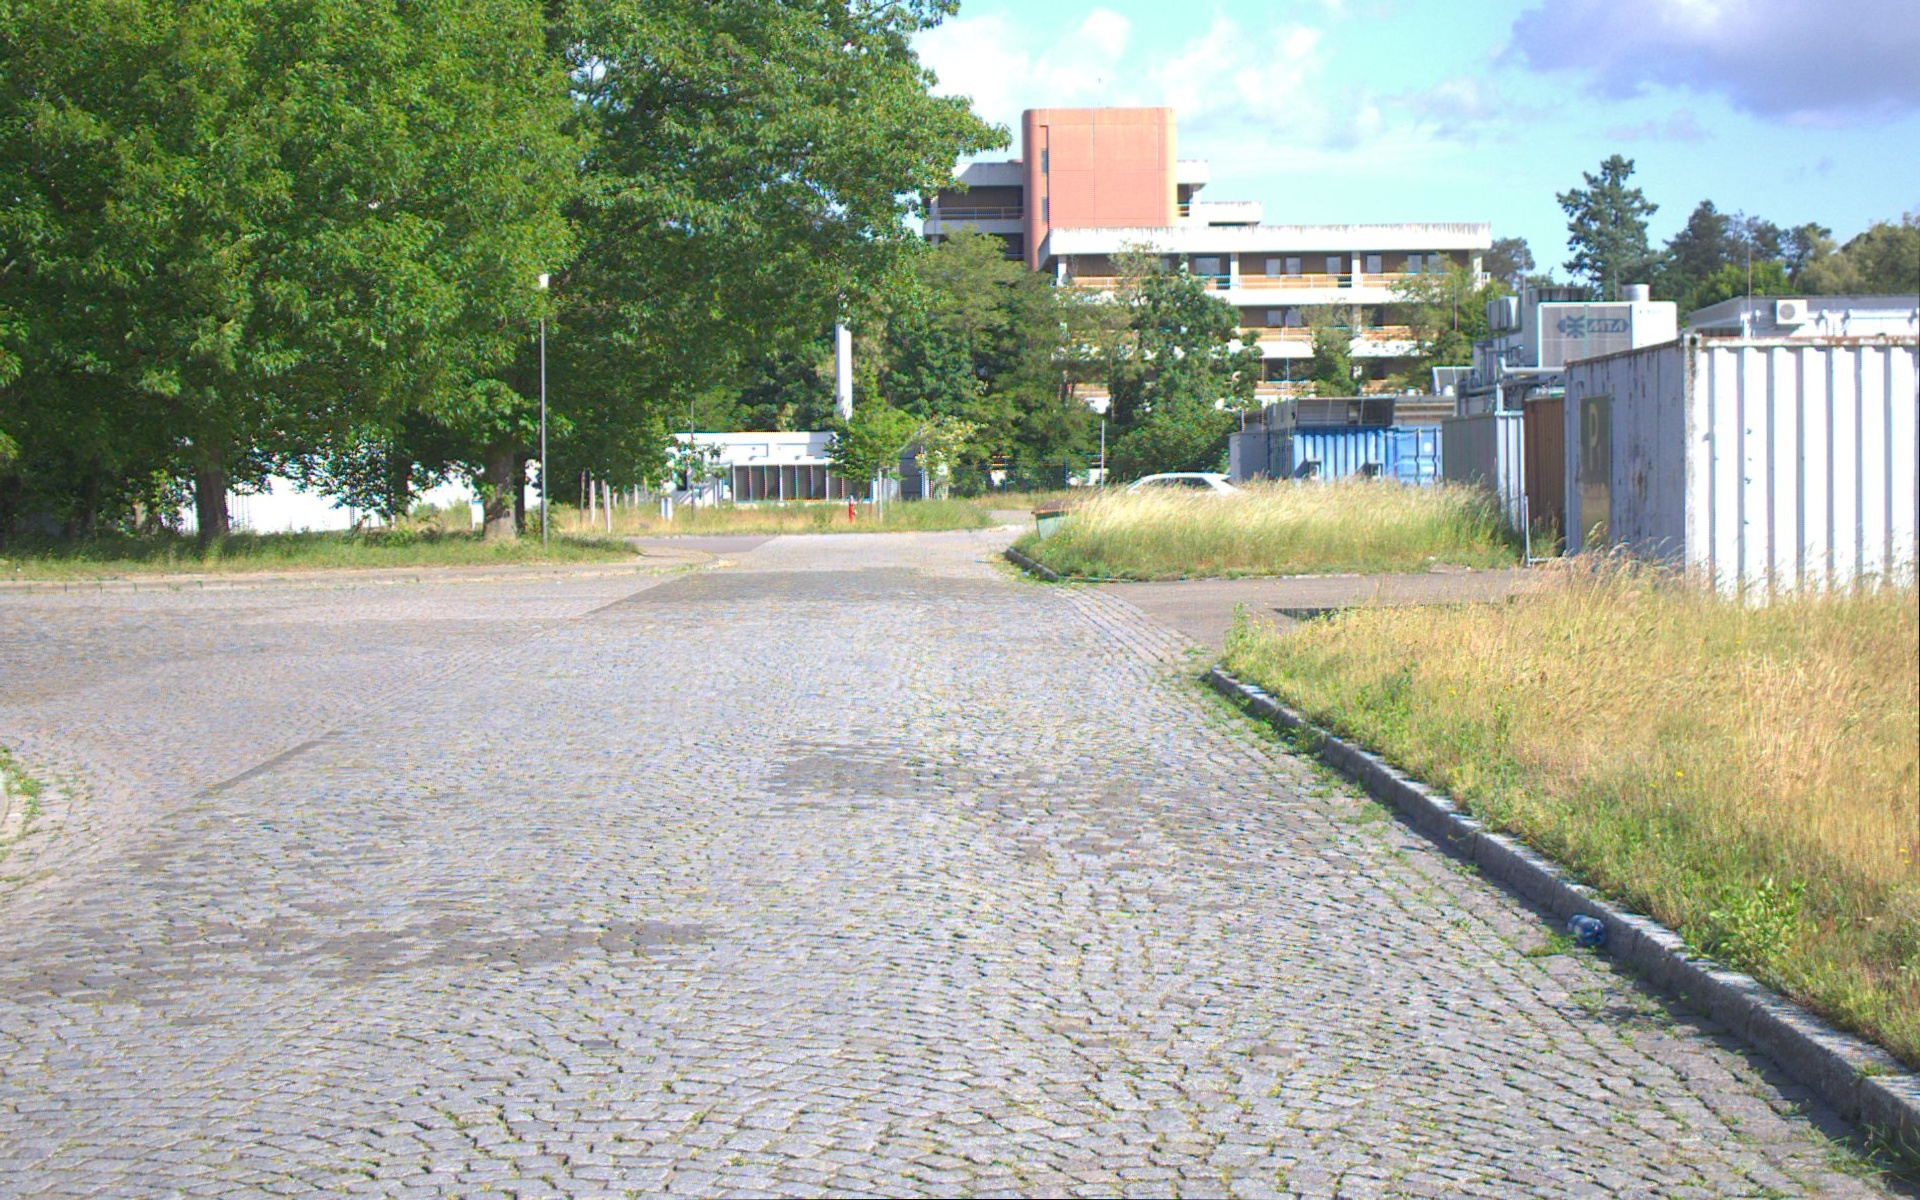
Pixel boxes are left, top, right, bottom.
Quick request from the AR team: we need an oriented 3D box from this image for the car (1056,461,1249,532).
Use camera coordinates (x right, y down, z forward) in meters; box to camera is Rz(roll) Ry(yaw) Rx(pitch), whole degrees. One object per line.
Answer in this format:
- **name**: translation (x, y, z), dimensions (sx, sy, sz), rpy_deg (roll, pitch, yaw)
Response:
- **car**: translation (4.682, -2.527, 83.946), dimensions (4.504, 1.642, 2.000), rpy_deg (-1, 2, -2)
